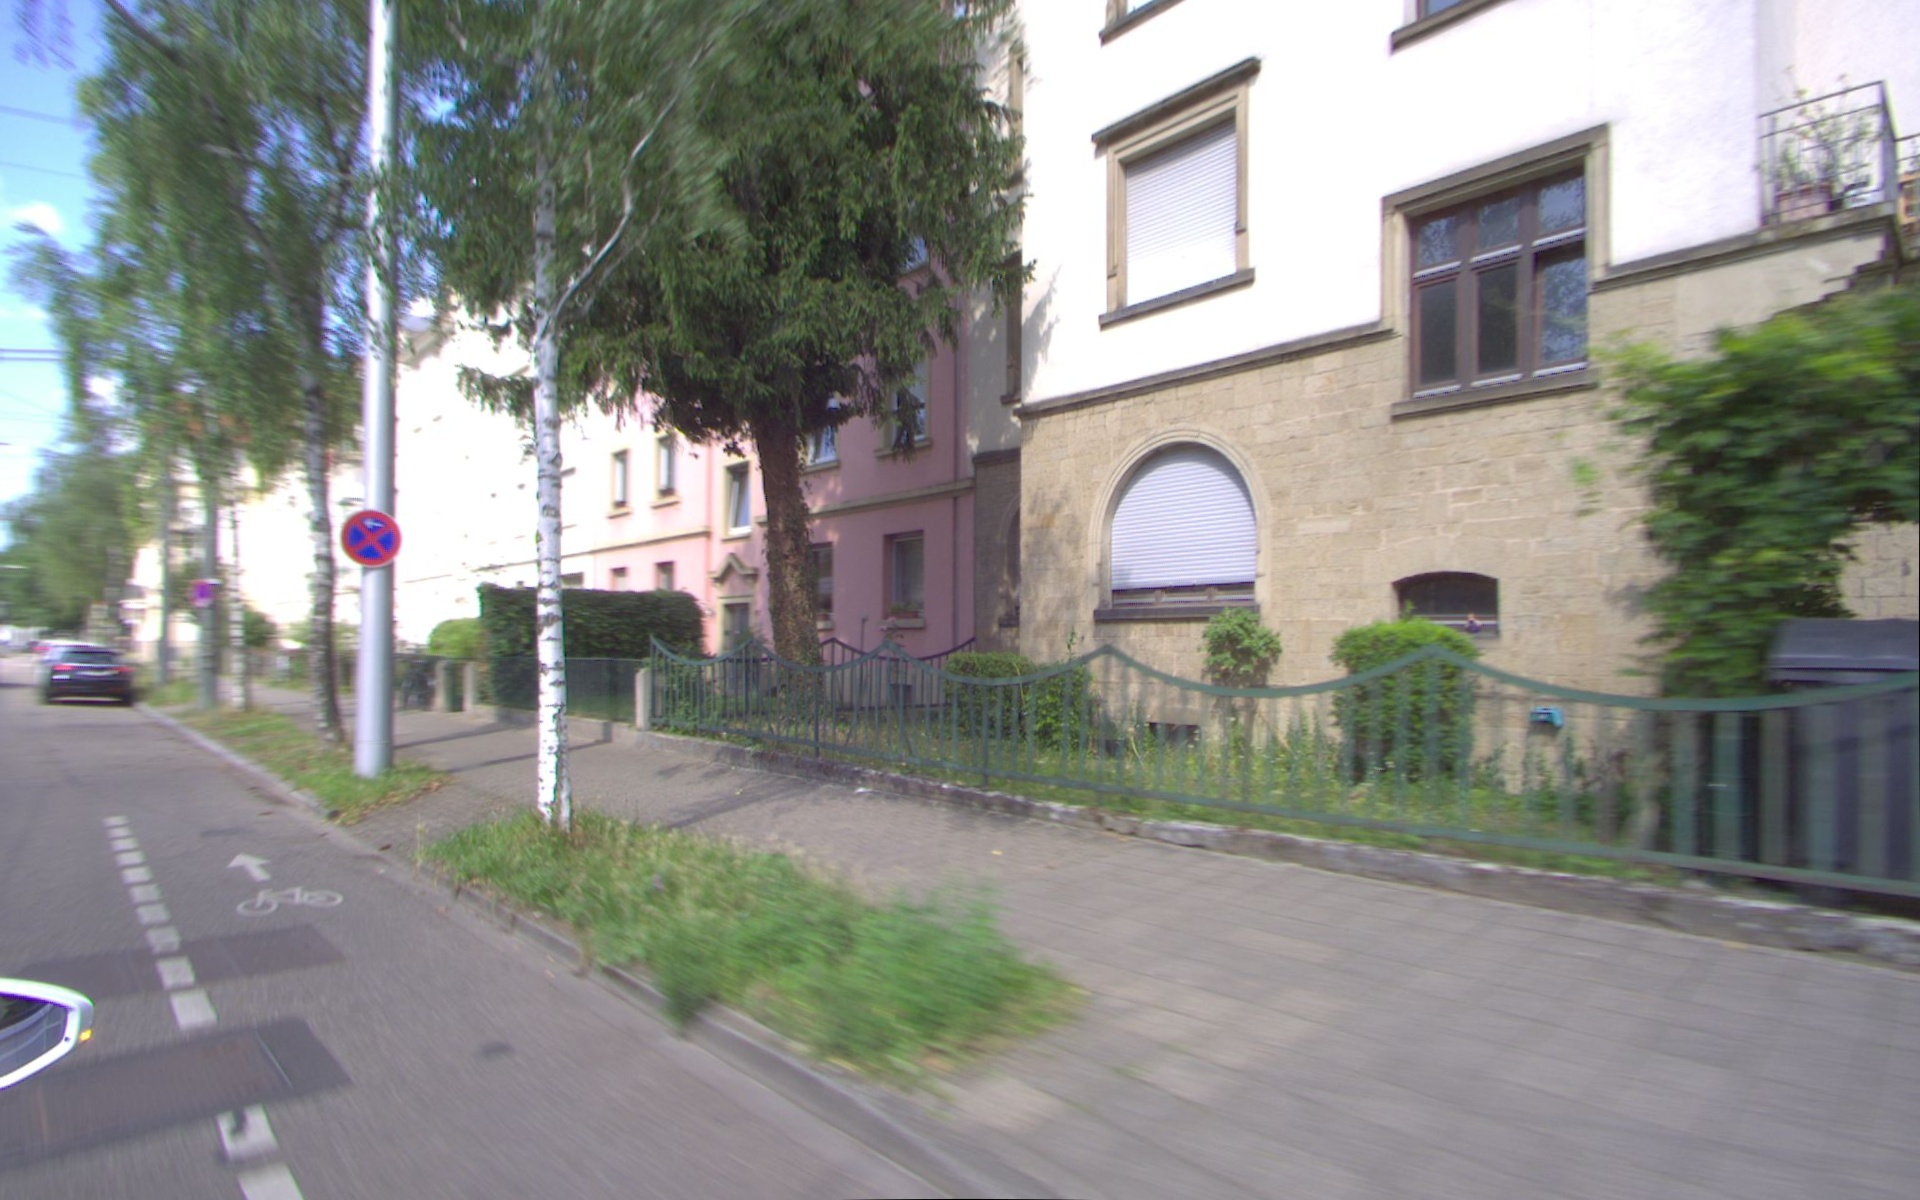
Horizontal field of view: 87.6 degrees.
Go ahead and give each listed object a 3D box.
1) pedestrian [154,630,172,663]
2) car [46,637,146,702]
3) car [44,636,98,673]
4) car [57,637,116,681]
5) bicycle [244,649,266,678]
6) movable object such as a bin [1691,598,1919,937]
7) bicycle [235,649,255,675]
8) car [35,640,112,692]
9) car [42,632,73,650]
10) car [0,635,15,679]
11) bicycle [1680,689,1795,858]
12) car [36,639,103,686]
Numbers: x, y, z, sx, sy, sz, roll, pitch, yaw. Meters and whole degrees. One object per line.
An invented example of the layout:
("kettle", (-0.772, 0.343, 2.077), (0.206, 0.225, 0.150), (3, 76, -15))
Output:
("pedestrian", (-42.146, 2.454, 52.970), (0.724, 1.705, 0.685), (-1, 0, -39))
("car", (-23.058, 1.810, 26.664), (1.781, 1.538, 4.484), (6, -6, -43))
("car", (-42.952, 2.627, 48.433), (1.709, 1.649, 3.968), (5, -5, -39))
("car", (-33.950, 2.288, 38.910), (1.485, 1.598, 3.723), (5, -5, -43))
("bicycle", (-24.863, 2.234, 35.305), (0.375, 0.955, 1.990), (2, -3, -43))
("movable object such as a bin", (4.867, 0.764, 4.802), (1.293, 1.511, 1.982), (2, -2, -42))
("bicycle", (-26.216, 2.262, 36.689), (0.385, 0.950, 1.571), (2, -3, -43))
("car", (-27.818, 2.048, 31.425), (1.610, 1.469, 3.883), (7, -7, -42))
("car", (-73.257, 3.318, 81.239), (1.690, 1.384, 3.481), (5, -5, -44))
("car", (-34.205, 1.927, 34.782), (1.756, 1.479, 3.743), (4, -5, -41))
("bicycle", (5.439, 1.158, 6.984), (1.303, 1.015, 0.449), (2, -2, -44))
("car", (-31.192, 2.169, 35.073), (1.580, 1.469, 3.810), (7, -6, -42))
